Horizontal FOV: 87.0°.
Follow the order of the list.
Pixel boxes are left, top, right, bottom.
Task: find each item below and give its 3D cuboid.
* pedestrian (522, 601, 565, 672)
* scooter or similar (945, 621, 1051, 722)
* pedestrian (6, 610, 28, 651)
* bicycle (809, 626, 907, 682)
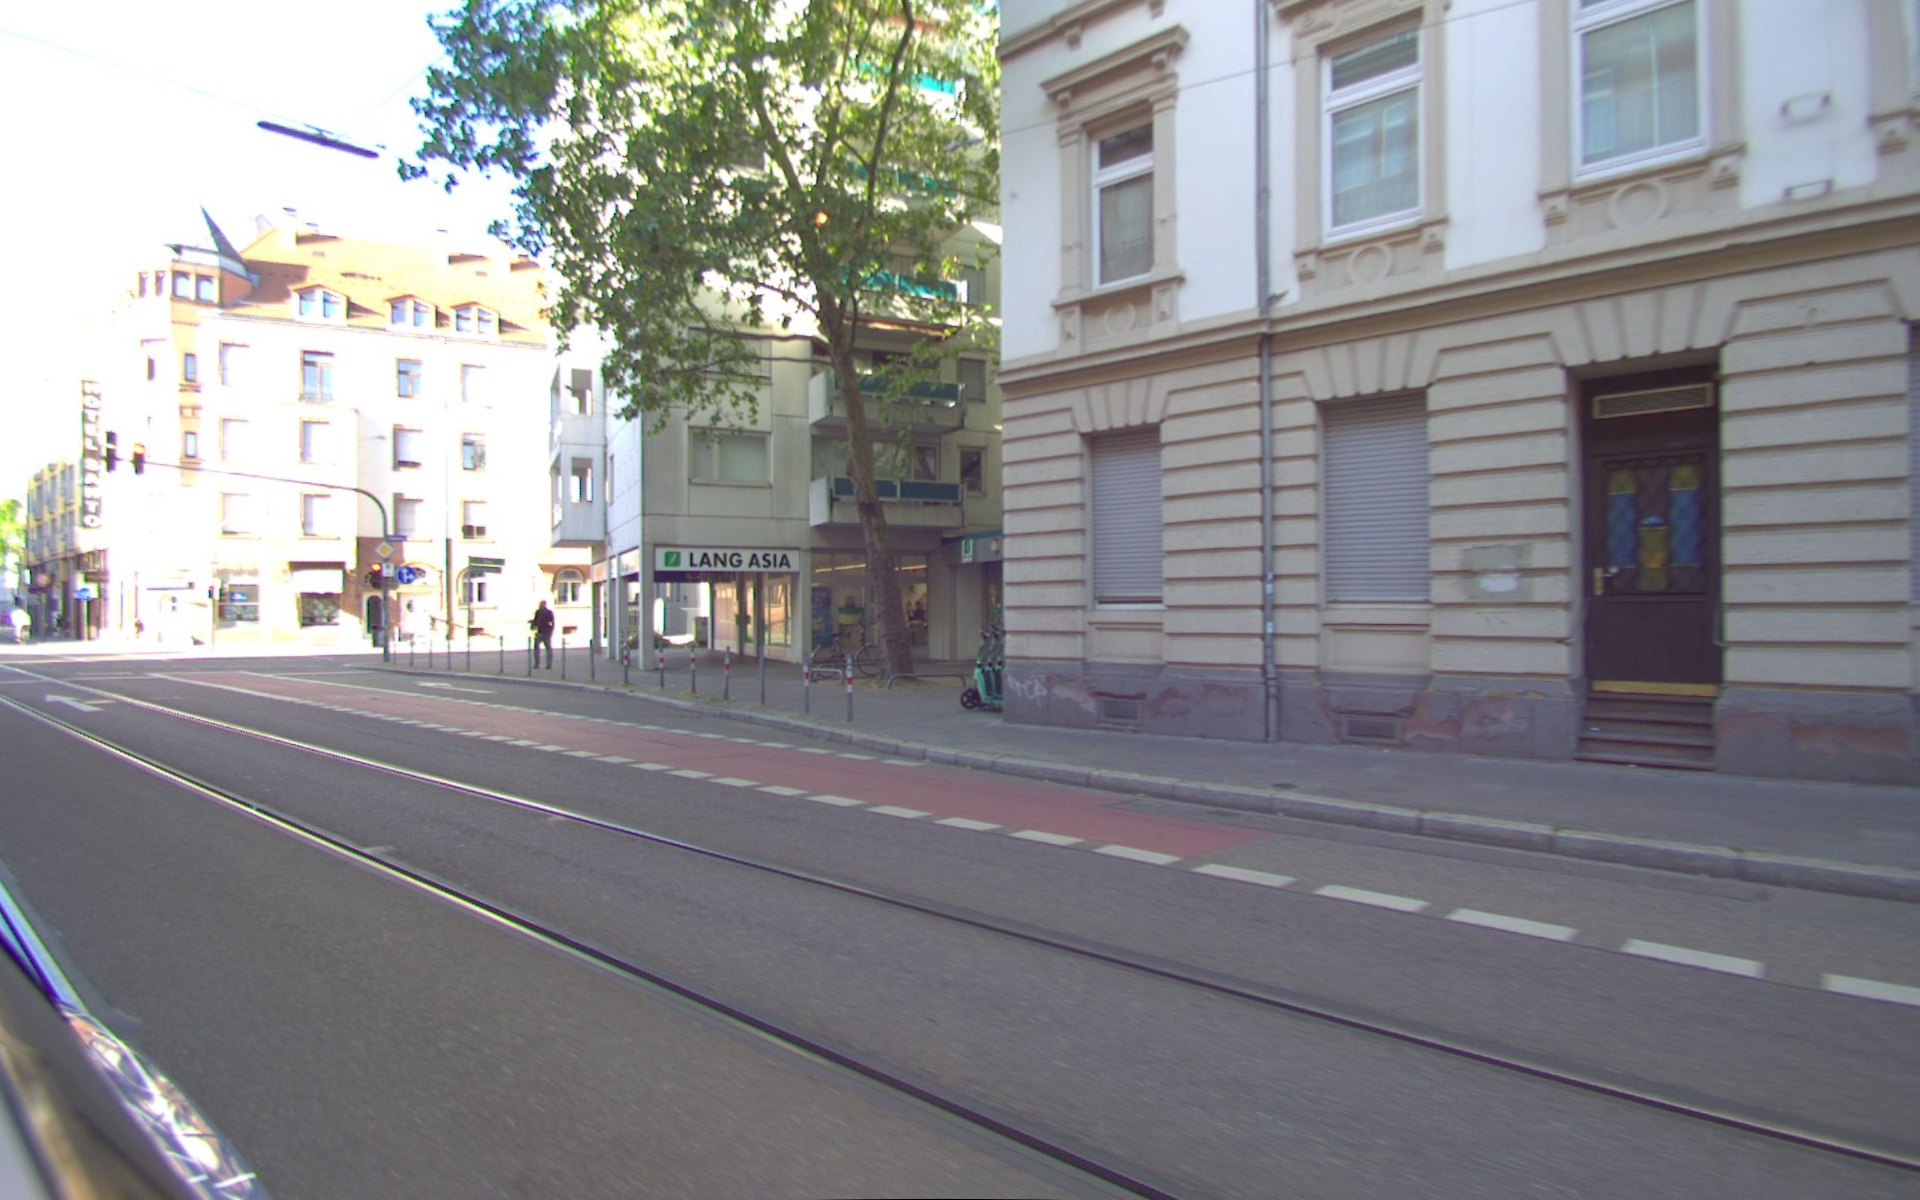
[{"bbox_3d":[-11.153,0.953,27.115,0.809,1.861,0.784,-1,0,44],"label":"pedestrian"},{"bbox_3d":[0.508,0.943,13.820,1.382,1.284,0.572,-1,0,41],"label":"scooter or similar"},{"bbox_3d":[-47.974,1.553,51.485,0.718,2.029,0.746,-1,0,41],"label":"pedestrian"},{"bbox_3d":[-2.246,1.164,22.230,2.012,1.134,0.708,-1,0,-21],"label":"bicycle"}]
